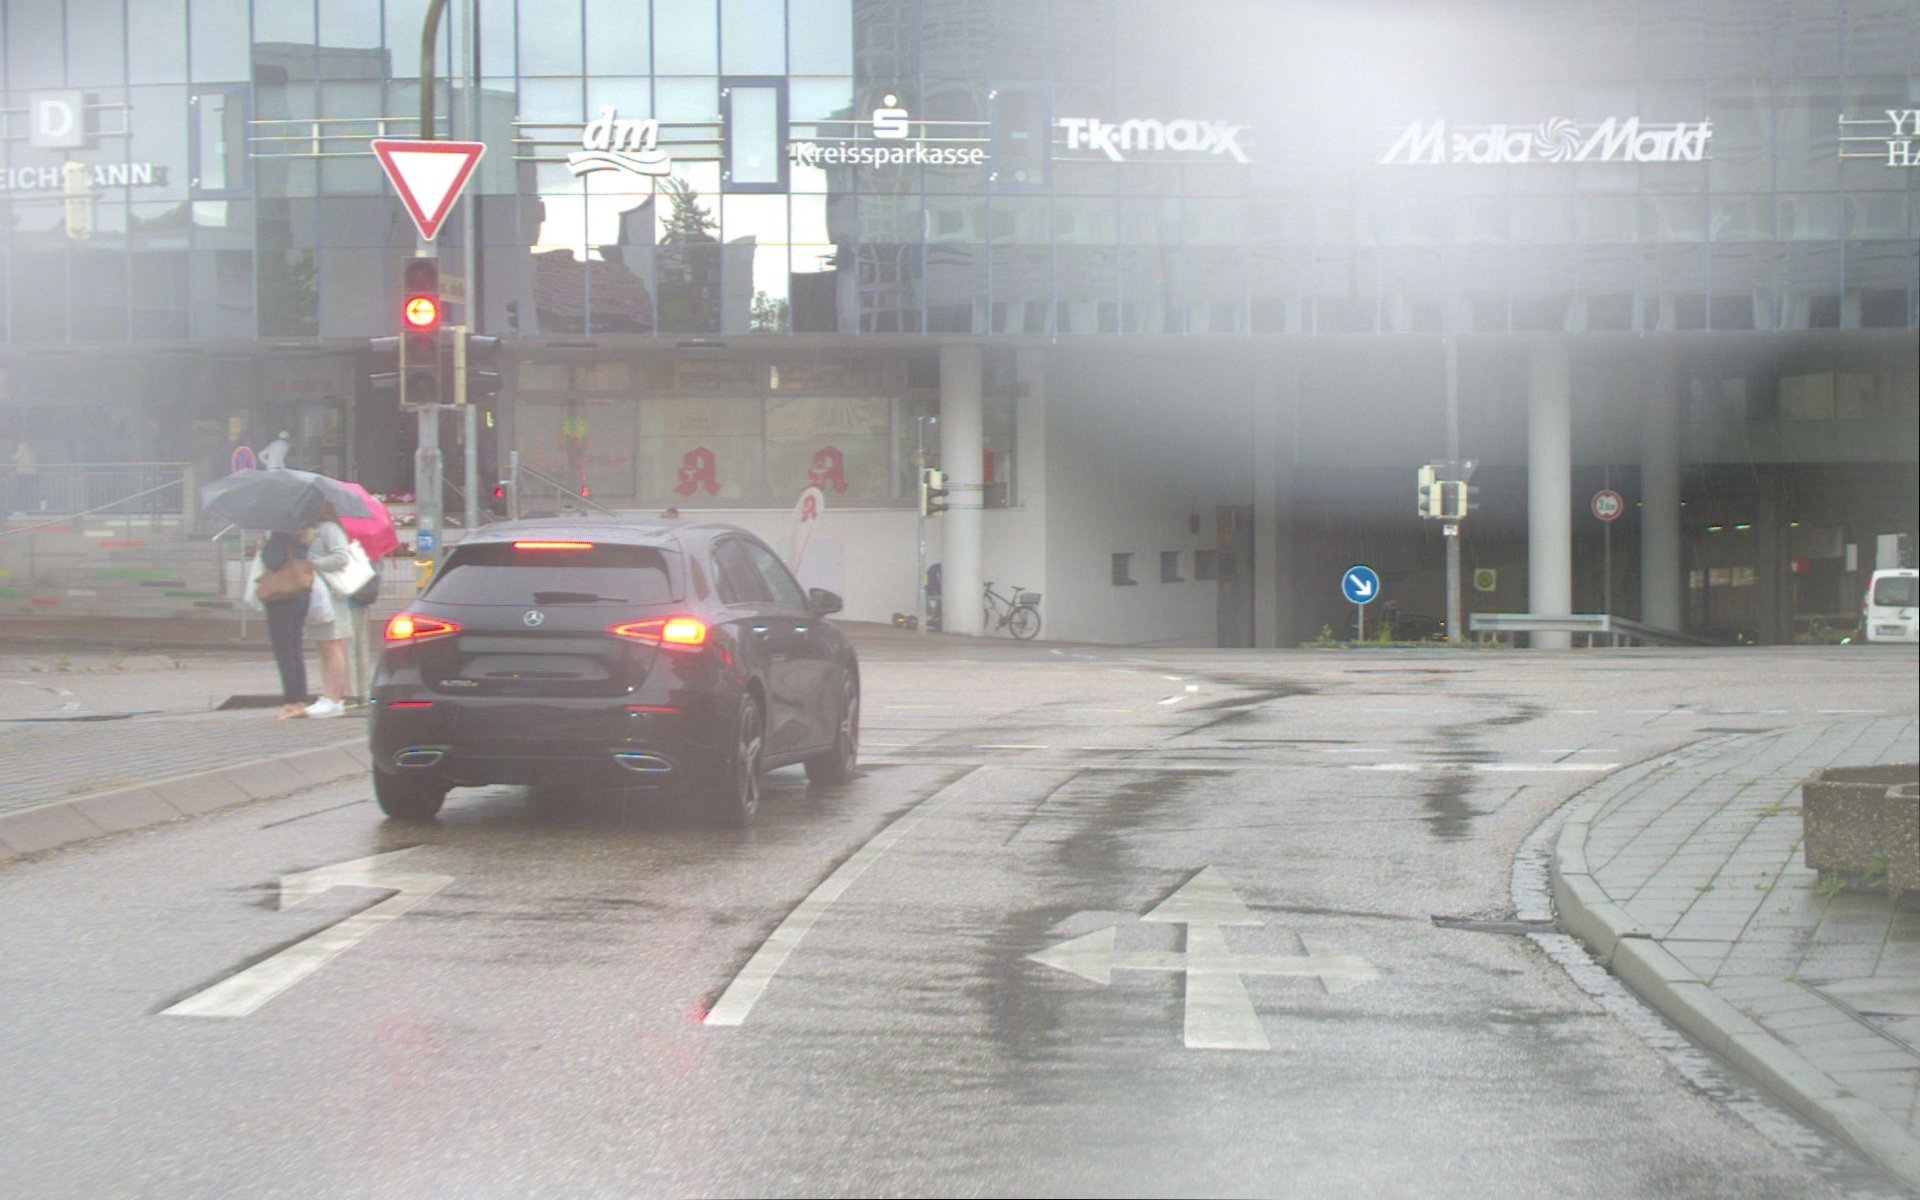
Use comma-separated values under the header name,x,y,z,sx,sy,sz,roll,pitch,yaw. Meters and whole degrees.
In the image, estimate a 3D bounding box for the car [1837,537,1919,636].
name,x,y,z,sx,sy,sz,roll,pitch,yaw
car,17.427,-0.273,63.083,1.996,1.711,3.995,0,2,23

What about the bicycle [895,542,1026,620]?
name,x,y,z,sx,sy,sz,roll,pitch,yaw
bicycle,0.006,-0.374,66.127,2.423,1.459,0.656,-1,3,-13

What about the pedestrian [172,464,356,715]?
name,x,y,z,sx,sy,sz,roll,pitch,yaw
pedestrian,-4.796,-0.071,23.679,0.909,1.653,0.755,2,2,-39

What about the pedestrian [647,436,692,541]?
name,x,y,z,sx,sy,sz,roll,pitch,yaw
pedestrian,-5.567,-2.133,65.836,0.787,2.007,0.670,-1,1,-1

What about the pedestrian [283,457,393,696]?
name,x,y,z,sx,sy,sz,roll,pitch,yaw
pedestrian,-4.457,-0.176,24.610,0.609,1.653,0.672,3,2,-17

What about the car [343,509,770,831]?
name,x,y,z,sx,sy,sz,roll,pitch,yaw
car,-1.906,0.259,17.337,1.804,1.414,4.001,-1,2,-2
